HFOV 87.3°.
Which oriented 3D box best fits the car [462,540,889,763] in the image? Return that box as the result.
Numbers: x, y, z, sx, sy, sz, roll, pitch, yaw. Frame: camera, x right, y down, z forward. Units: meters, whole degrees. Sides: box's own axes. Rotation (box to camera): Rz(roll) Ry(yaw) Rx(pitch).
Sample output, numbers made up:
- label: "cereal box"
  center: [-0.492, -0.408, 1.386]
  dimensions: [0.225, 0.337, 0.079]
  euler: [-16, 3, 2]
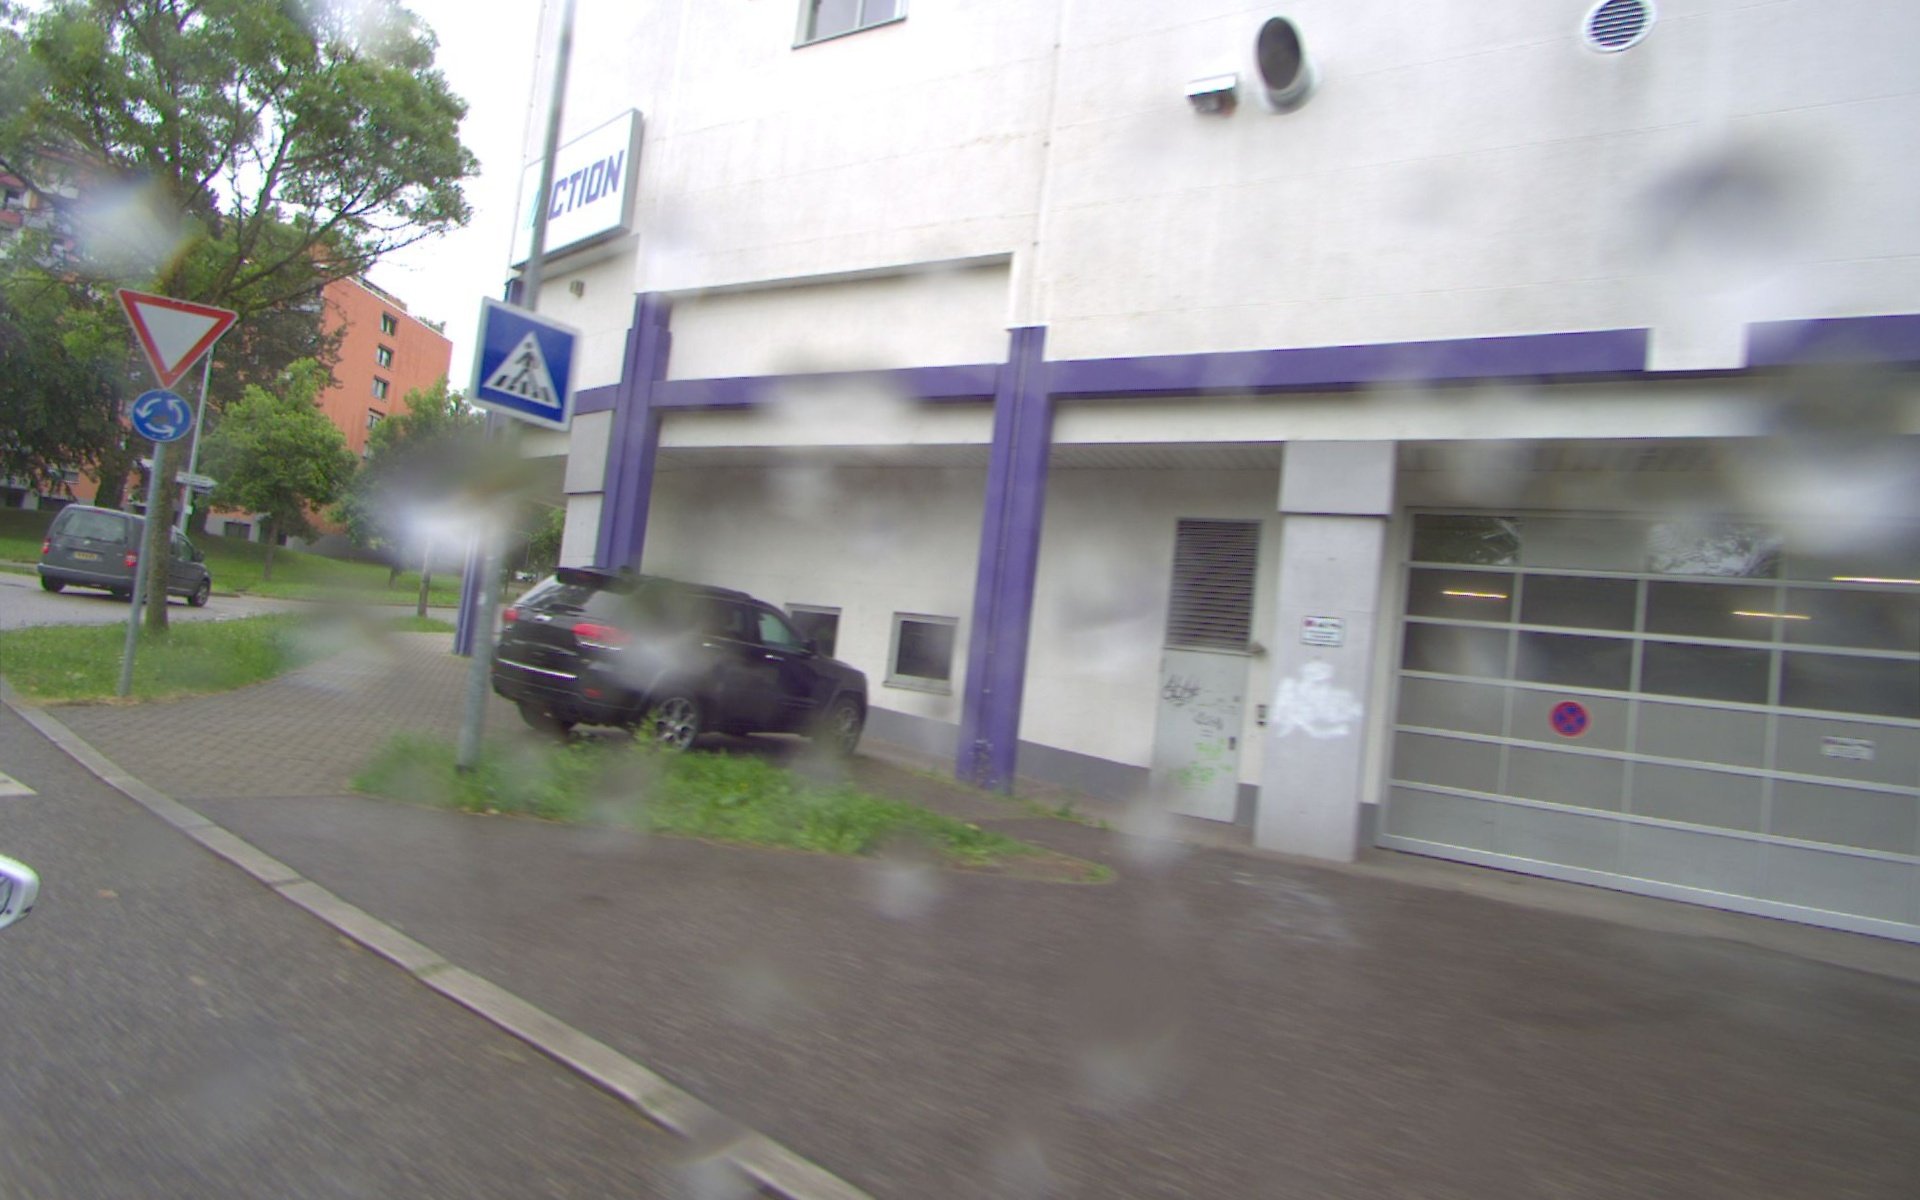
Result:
- label: "car"
  center: [-2.812, 0.710, 11.096]
  dimensions: [1.797, 1.777, 4.394]
  euler: [8, -4, 28]

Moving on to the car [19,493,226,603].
- label: "car"
  center: [-18.037, -1.021, 21.928]
  dimensions: [1.897, 1.820, 3.780]
  euler: [10, -3, -16]
